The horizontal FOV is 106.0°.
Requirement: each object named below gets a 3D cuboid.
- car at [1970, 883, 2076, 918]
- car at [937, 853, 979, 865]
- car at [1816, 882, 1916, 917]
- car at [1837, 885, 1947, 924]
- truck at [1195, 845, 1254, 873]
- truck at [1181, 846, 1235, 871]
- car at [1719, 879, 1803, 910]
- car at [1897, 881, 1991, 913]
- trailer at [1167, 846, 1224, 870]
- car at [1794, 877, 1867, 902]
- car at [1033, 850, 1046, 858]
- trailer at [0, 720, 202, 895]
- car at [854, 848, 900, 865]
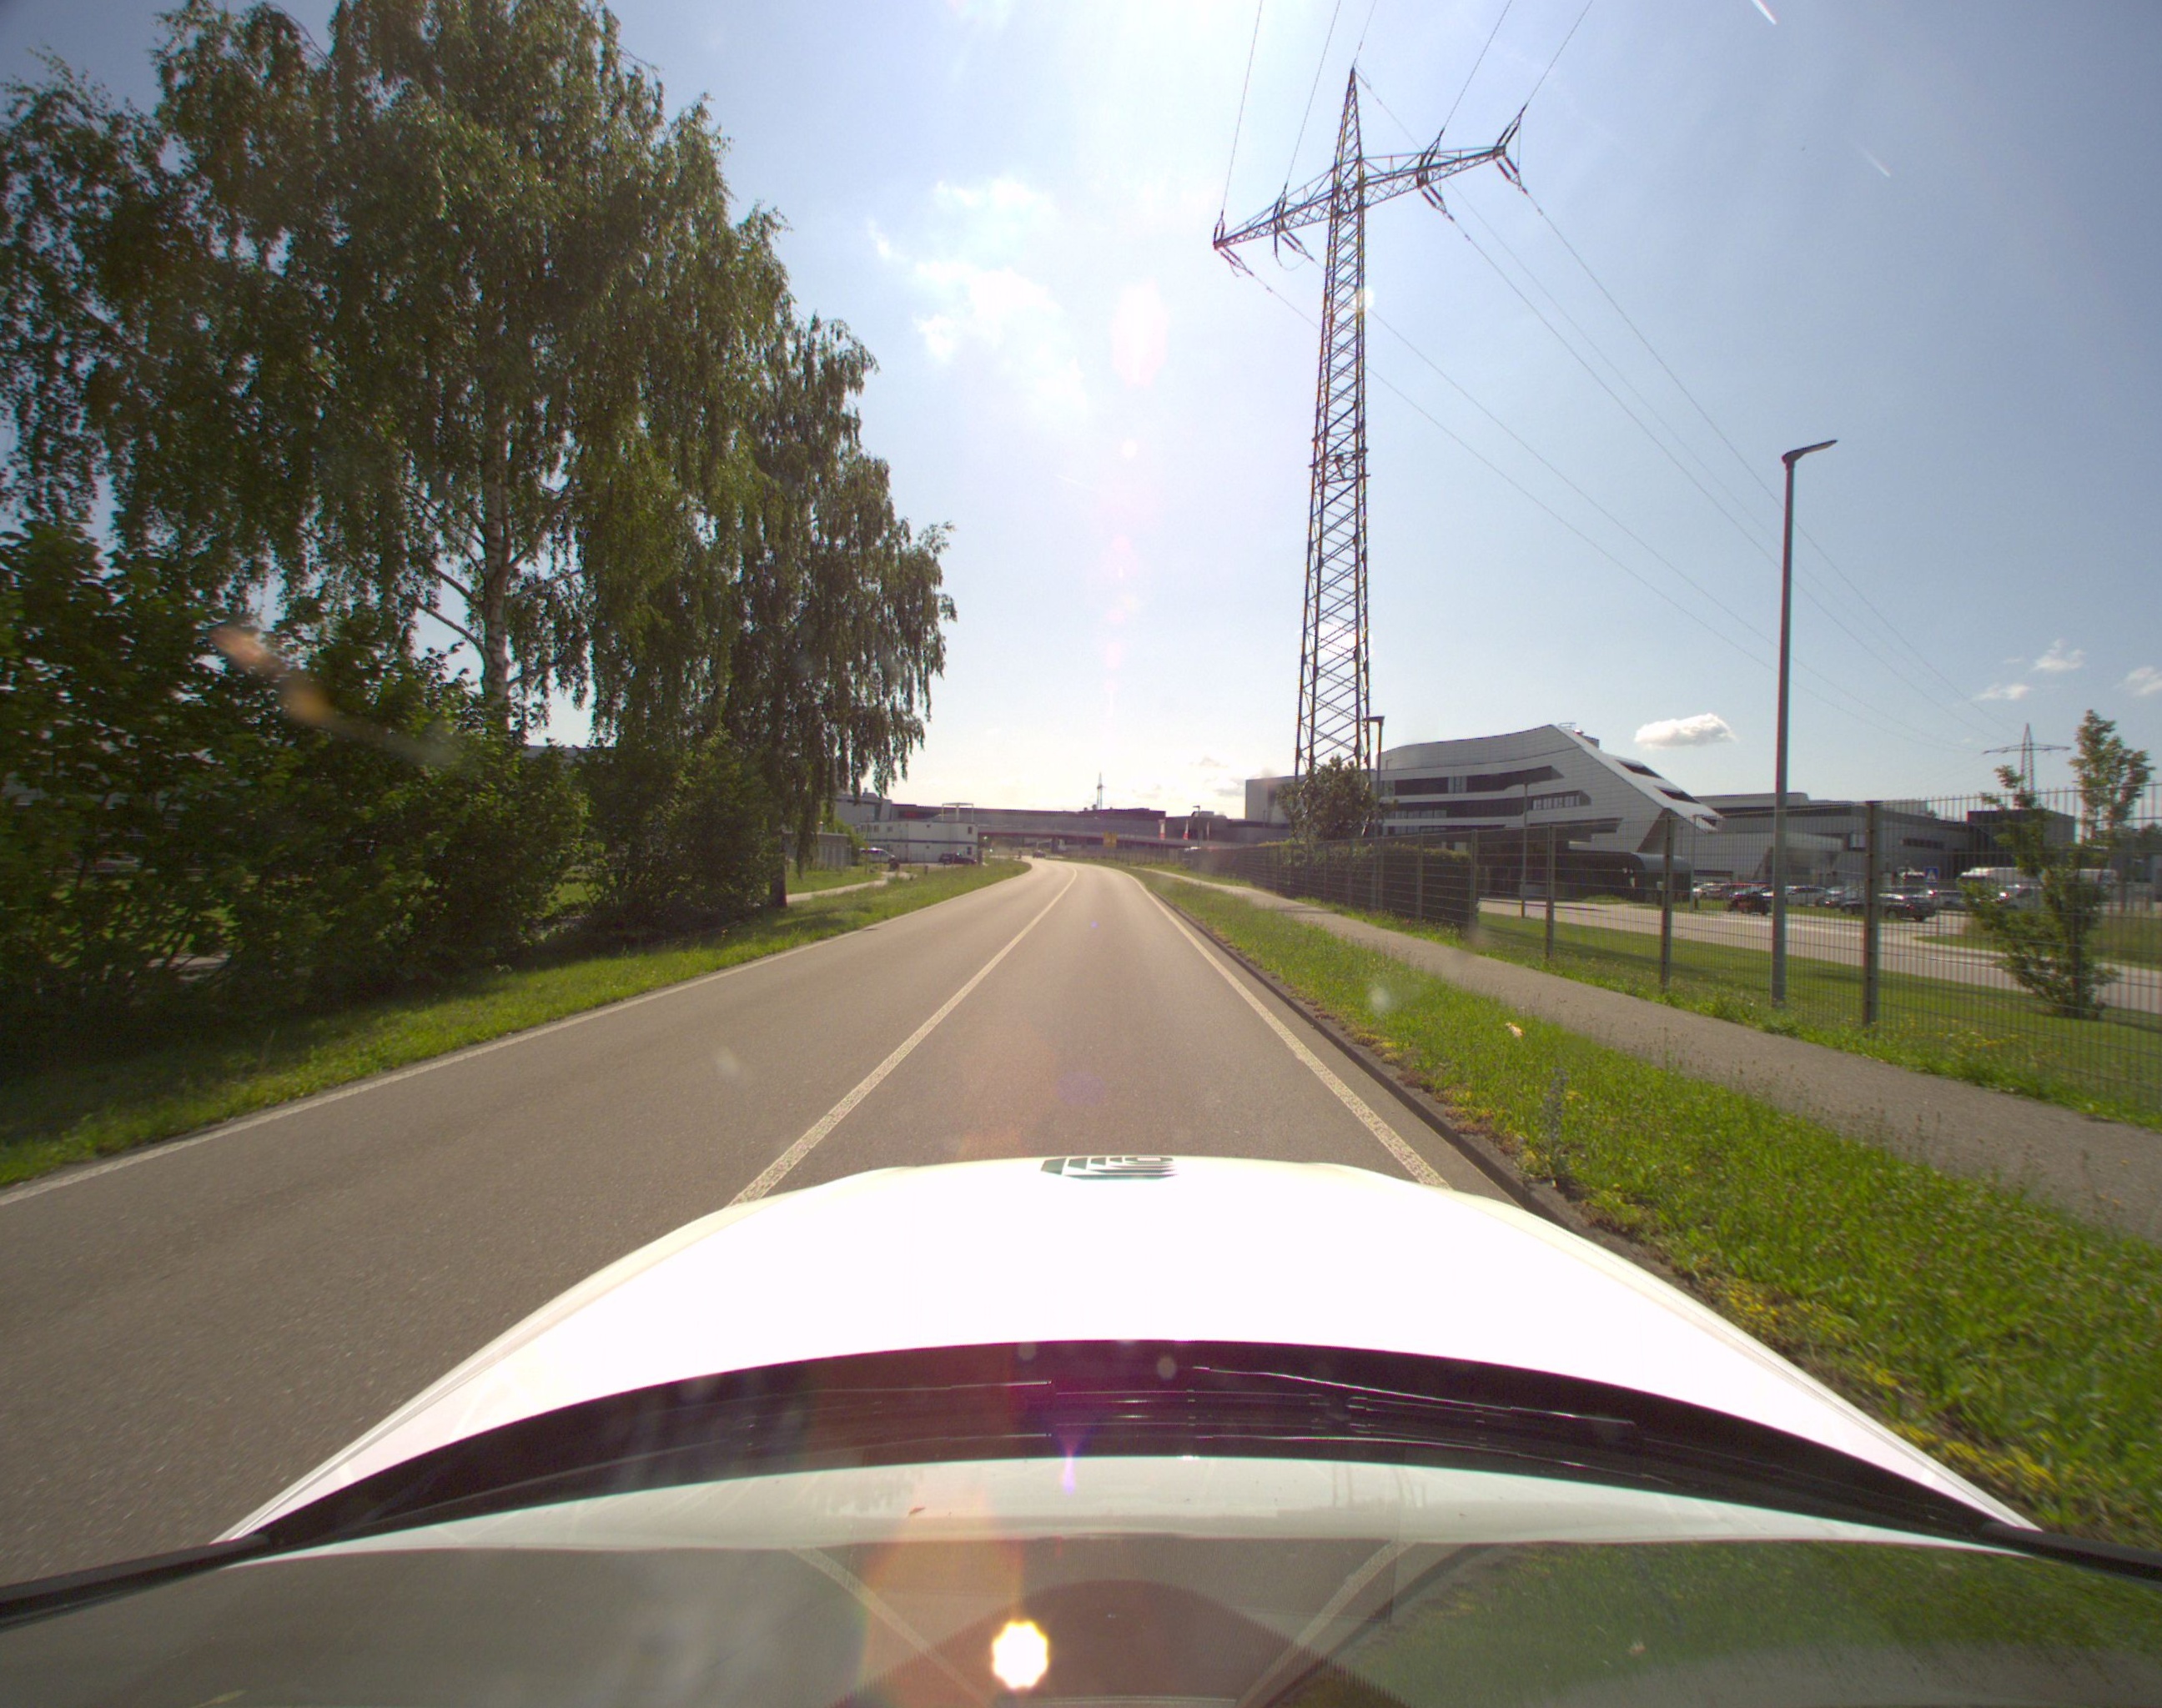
[{"bbox_3d":[63.043,3.076,54.560,4.721,2.013,2.000,3,0,0],"label":"car"},{"bbox_3d":[-15.481,0.585,102.552,4.982,1.417,1.988,1,0,-18],"label":"car"},{"bbox_3d":[52.726,3.035,54.743,4.721,2.013,2.000,3,0,0],"label":"car"},{"bbox_3d":[48.752,2.986,49.131,1.986,2.013,4.756,2,0,2],"label":"car"},{"bbox_3d":[22.940,0.782,129.508,11.032,4.256,2.993,1,-1,-42],"label":"truck"},{"bbox_3d":[21.709,0.786,138.559,11.031,4.172,2.789,1,-1,-41],"label":"truck"},{"bbox_3d":[52.112,3.083,62.495,4.721,2.013,2.000,3,0,0],"label":"car"},{"bbox_3d":[63.039,3.104,59.539,4.721,2.013,2.000,3,0,0],"label":"car"},{"bbox_3d":[22.823,0.820,161.203,14.139,4.438,2.733,1,-1,-42],"label":"trailer"},{"bbox_3d":[67.517,3.197,73.438,4.721,2.013,2.000,3,0,0],"label":"car"},{"bbox_3d":[-8.262,0.072,161.872,1.984,1.544,4.005,0,0,5],"label":"car"},{"bbox_3d":[-24.209,-0.972,16.325,3.384,3.645,8.667,0,0,4],"label":"trailer"},{"bbox_3d":[-25.229,0.333,100.738,5.045,1.866,1.978,2,0,-38],"label":"car"}]
